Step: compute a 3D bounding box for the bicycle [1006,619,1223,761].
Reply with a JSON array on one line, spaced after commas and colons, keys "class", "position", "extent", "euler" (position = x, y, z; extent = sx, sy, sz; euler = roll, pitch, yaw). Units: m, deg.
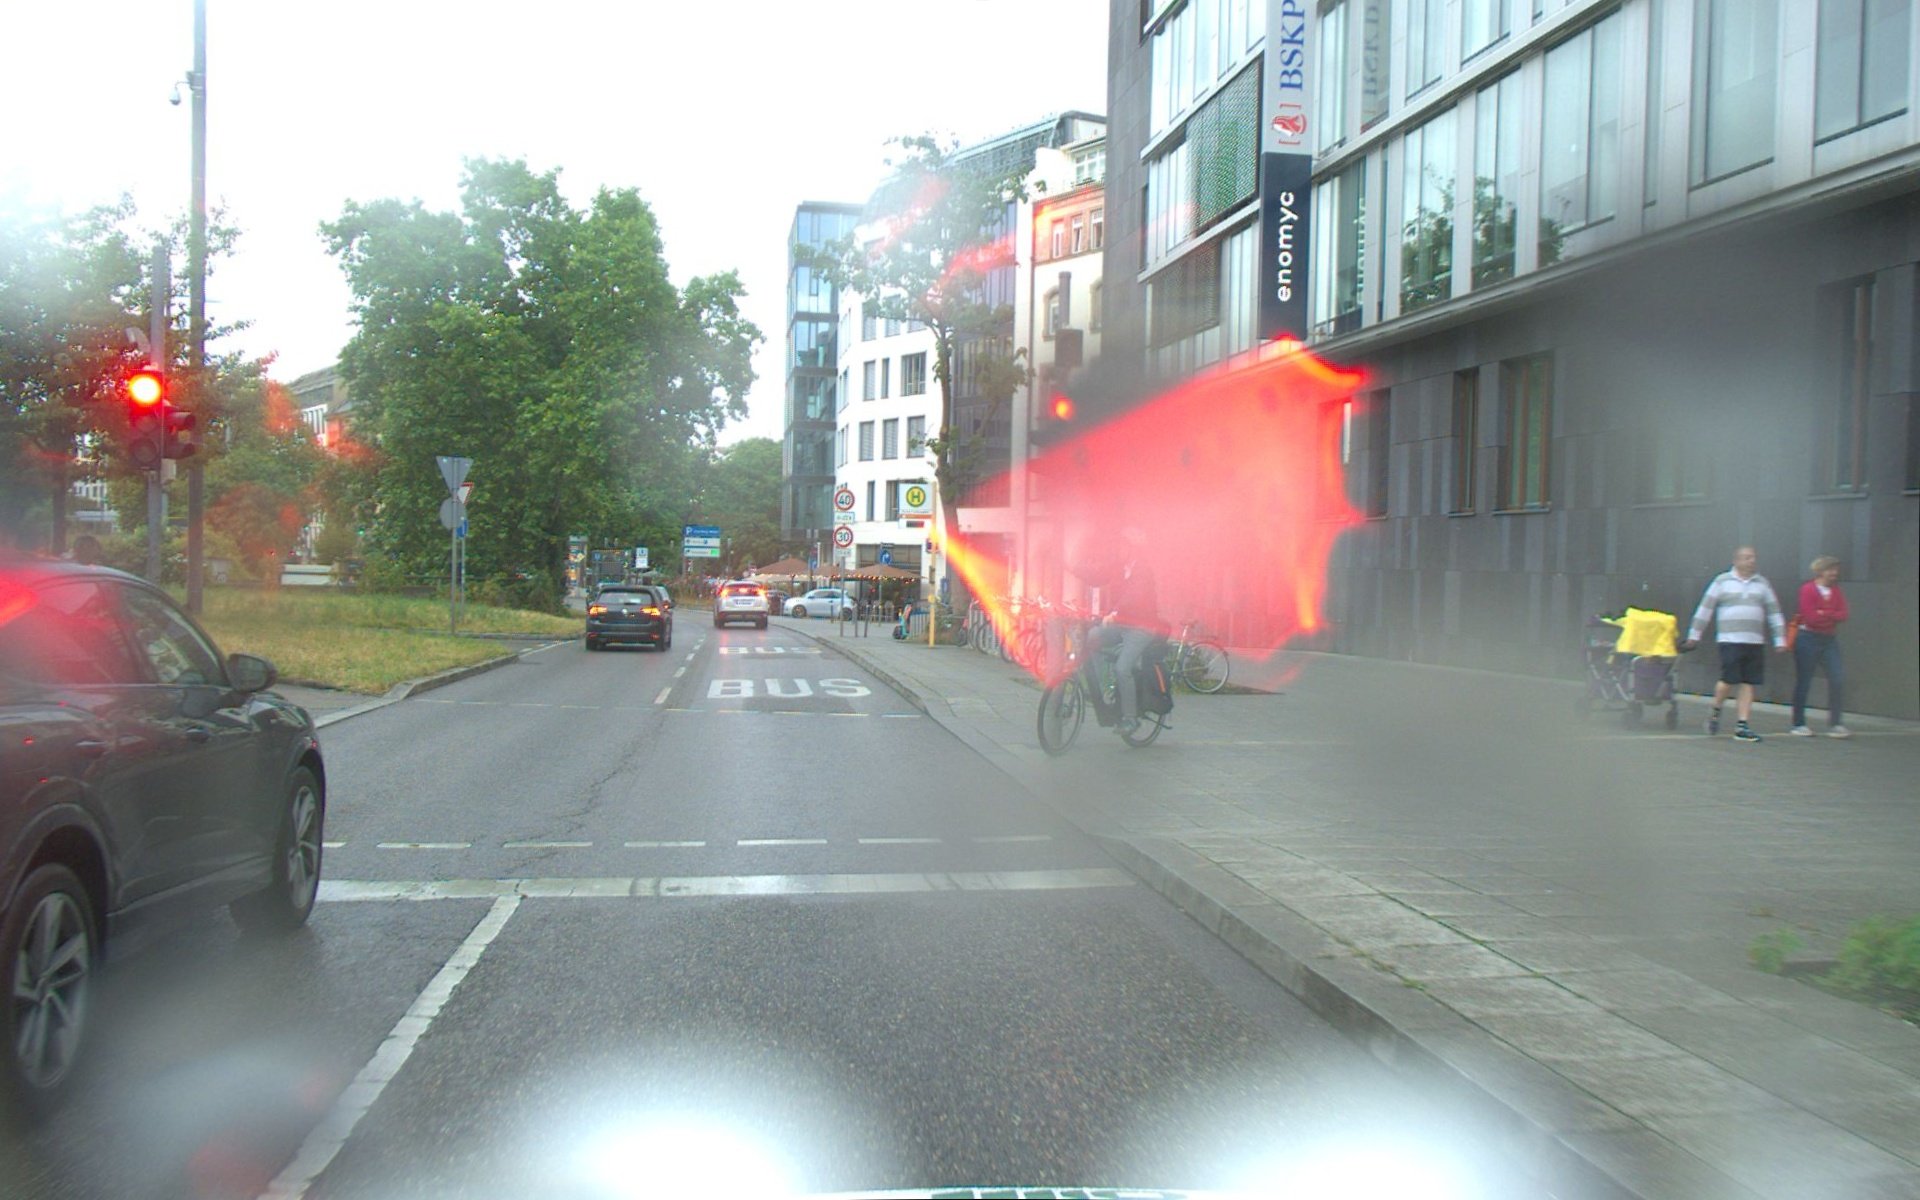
[{"class": "bicycle", "position": [1.414, 0.763, 14.836], "extent": [2.116, 1.165, 0.751], "euler": [1, 0, -44]}]

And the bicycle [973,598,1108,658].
[{"class": "bicycle", "position": [1.528, 0.529, 31.517], "extent": [2.489, 1.106, 0.676], "euler": [0, 0, -9]}]

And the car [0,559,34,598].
[{"class": "car", "position": [-38.407, -0.886, 65.759], "extent": [1.775, 1.512, 3.984], "euler": [3, 0, -15]}]

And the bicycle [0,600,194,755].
[{"class": "bicycle", "position": [-7.718, 0.622, 13.987], "extent": [2.017, 1.133, 1.012], "euler": [4, 0, 15]}]

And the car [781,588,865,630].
[{"class": "car", "position": [-6.750, 0.447, 81.097], "extent": [3.913, 1.675, 1.997], "euler": [5, 0, -8]}]

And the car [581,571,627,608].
[{"class": "car", "position": [-16.654, -0.507, 77.326], "extent": [1.913, 1.675, 3.985], "euler": [1, 0, -15]}]

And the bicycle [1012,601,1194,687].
[{"class": "bicycle", "position": [2.051, 0.627, 23.860], "extent": [2.489, 1.106, 0.676], "euler": [3, 0, -9]}]

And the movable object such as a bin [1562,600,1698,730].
[{"class": "movable object such as a bin", "position": [7.082, 0.662, 17.547], "extent": [0.717, 1.286, 1.442], "euler": [-1, 1, -7]}]

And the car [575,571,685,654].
[{"class": "car", "position": [-7.411, 0.250, 37.569], "extent": [2.121, 1.735, 4.546], "euler": [1, 0, -8]}]

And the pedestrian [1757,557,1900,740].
[{"class": "pedestrian", "position": [8.540, 0.453, 16.298], "extent": [0.705, 1.720, 1.097], "euler": [-1, 1, -10]}]

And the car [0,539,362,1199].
[{"class": "car", "position": [-3.455, 0.613, 5.507], "extent": [1.813, 1.644, 4.246], "euler": [2, 1, -7]}]

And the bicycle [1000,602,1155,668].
[{"class": "bicycle", "position": [1.961, 0.588, 27.620], "extent": [2.489, 1.078, 0.676], "euler": [0, 0, -9]}]

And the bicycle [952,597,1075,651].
[{"class": "bicycle", "position": [1.117, 0.503, 34.602], "extent": [2.489, 1.106, 0.626], "euler": [0, 0, -9]}]

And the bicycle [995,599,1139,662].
[{"class": "bicycle", "position": [1.915, 0.546, 29.727], "extent": [2.489, 1.106, 0.676], "euler": [0, 0, -9]}]

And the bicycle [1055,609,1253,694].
[{"class": "bicycle", "position": [2.526, 0.673, 21.613], "extent": [2.489, 1.075, 0.676], "euler": [1, 0, -9]}]

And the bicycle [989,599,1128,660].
[{"class": "bicycle", "position": [1.828, 0.539, 30.700], "extent": [2.489, 1.106, 0.676], "euler": [0, 0, -9]}]

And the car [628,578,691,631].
[{"class": "car", "position": [-10.120, 0.114, 55.938], "extent": [1.909, 1.675, 4.237], "euler": [1, 0, -8]}]

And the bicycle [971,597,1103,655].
[{"class": "bicycle", "position": [1.503, 0.509, 32.269], "extent": [2.489, 1.106, 0.676], "euler": [0, 0, -9]}]

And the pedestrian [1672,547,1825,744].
[{"class": "pedestrian", "position": [7.632, 0.420, 16.052], "extent": [0.883, 1.823, 1.044], "euler": [-1, 1, -10]}]

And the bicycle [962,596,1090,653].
[{"class": "bicycle", "position": [1.313, 0.491, 33.145], "extent": [2.489, 1.106, 0.676], "euler": [0, 0, -9]}]

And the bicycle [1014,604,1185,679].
[{"class": "bicycle", "position": [2.111, 0.625, 25.094], "extent": [2.489, 1.106, 0.676], "euler": [0, 0, -9]}]

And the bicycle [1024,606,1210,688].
[{"class": "bicycle", "position": [2.189, 0.652, 23.066], "extent": [2.489, 1.106, 0.676], "euler": [1, 0, -9]}]

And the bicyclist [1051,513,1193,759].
[{"class": "bicyclist", "position": [1.463, 0.310, 14.880], "extent": [1.077, 2.119, 0.751], "euler": [1, 0, -44]}]

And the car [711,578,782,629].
[{"class": "car", "position": [-7.738, 0.104, 59.630], "extent": [2.141, 1.730, 3.987], "euler": [1, 0, -13]}]

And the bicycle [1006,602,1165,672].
[{"class": "bicycle", "position": [2.022, 0.590, 26.756], "extent": [2.489, 1.106, 0.676], "euler": [0, 0, -9]}]

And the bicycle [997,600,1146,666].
[{"class": "bicycle", "position": [1.918, 0.567, 28.527], "extent": [2.489, 1.106, 0.676], "euler": [0, 0, -9]}]

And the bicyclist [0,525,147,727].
[{"class": "bicyclist", "position": [-7.785, 0.201, 14.040], "extent": [1.109, 1.610, 1.015], "euler": [3, 0, 16]}]

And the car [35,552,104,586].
[{"class": "car", "position": [-42.773, -1.476, 79.521], "extent": [1.774, 1.512, 4.368], "euler": [3, 0, -14]}]

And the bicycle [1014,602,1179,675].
[{"class": "bicycle", "position": [2.141, 0.601, 25.953], "extent": [2.489, 1.106, 0.676], "euler": [0, 0, -9]}]

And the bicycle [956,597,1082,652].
[{"class": "bicycle", "position": [1.208, 0.498, 33.885], "extent": [2.489, 1.106, 0.676], "euler": [0, 0, -9]}]
